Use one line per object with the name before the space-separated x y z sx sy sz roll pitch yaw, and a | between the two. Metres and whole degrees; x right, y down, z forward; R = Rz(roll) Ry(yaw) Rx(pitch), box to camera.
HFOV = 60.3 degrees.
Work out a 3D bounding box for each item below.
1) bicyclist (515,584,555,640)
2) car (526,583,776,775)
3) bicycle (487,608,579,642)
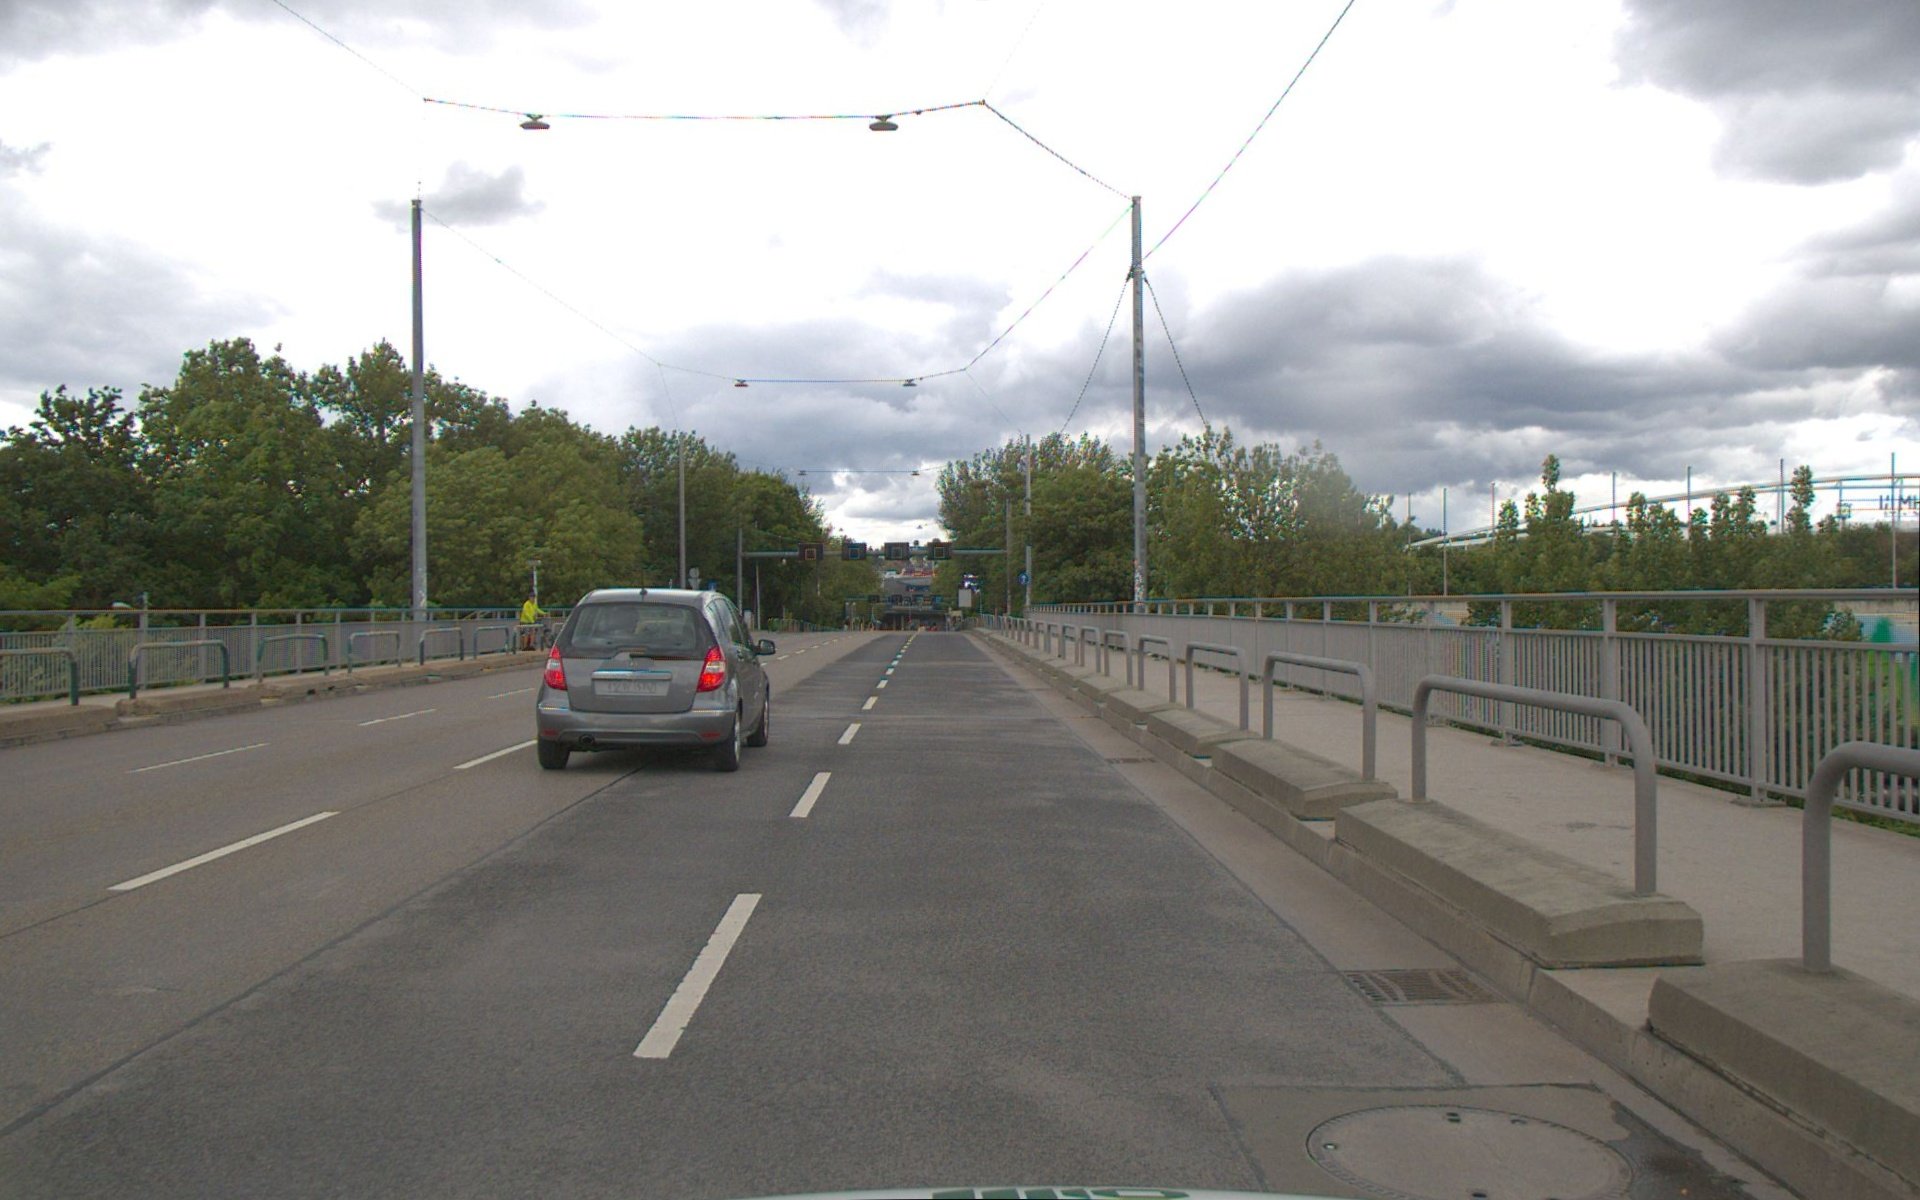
bicyclist | -13.661 0.379 53.226 1.110 1.795 0.904 0 0 -6
car | -2.771 0.636 15.638 1.710 1.577 3.870 0 1 -1
bicycle | -13.726 0.790 53.219 2.737 1.069 0.919 0 0 -6
